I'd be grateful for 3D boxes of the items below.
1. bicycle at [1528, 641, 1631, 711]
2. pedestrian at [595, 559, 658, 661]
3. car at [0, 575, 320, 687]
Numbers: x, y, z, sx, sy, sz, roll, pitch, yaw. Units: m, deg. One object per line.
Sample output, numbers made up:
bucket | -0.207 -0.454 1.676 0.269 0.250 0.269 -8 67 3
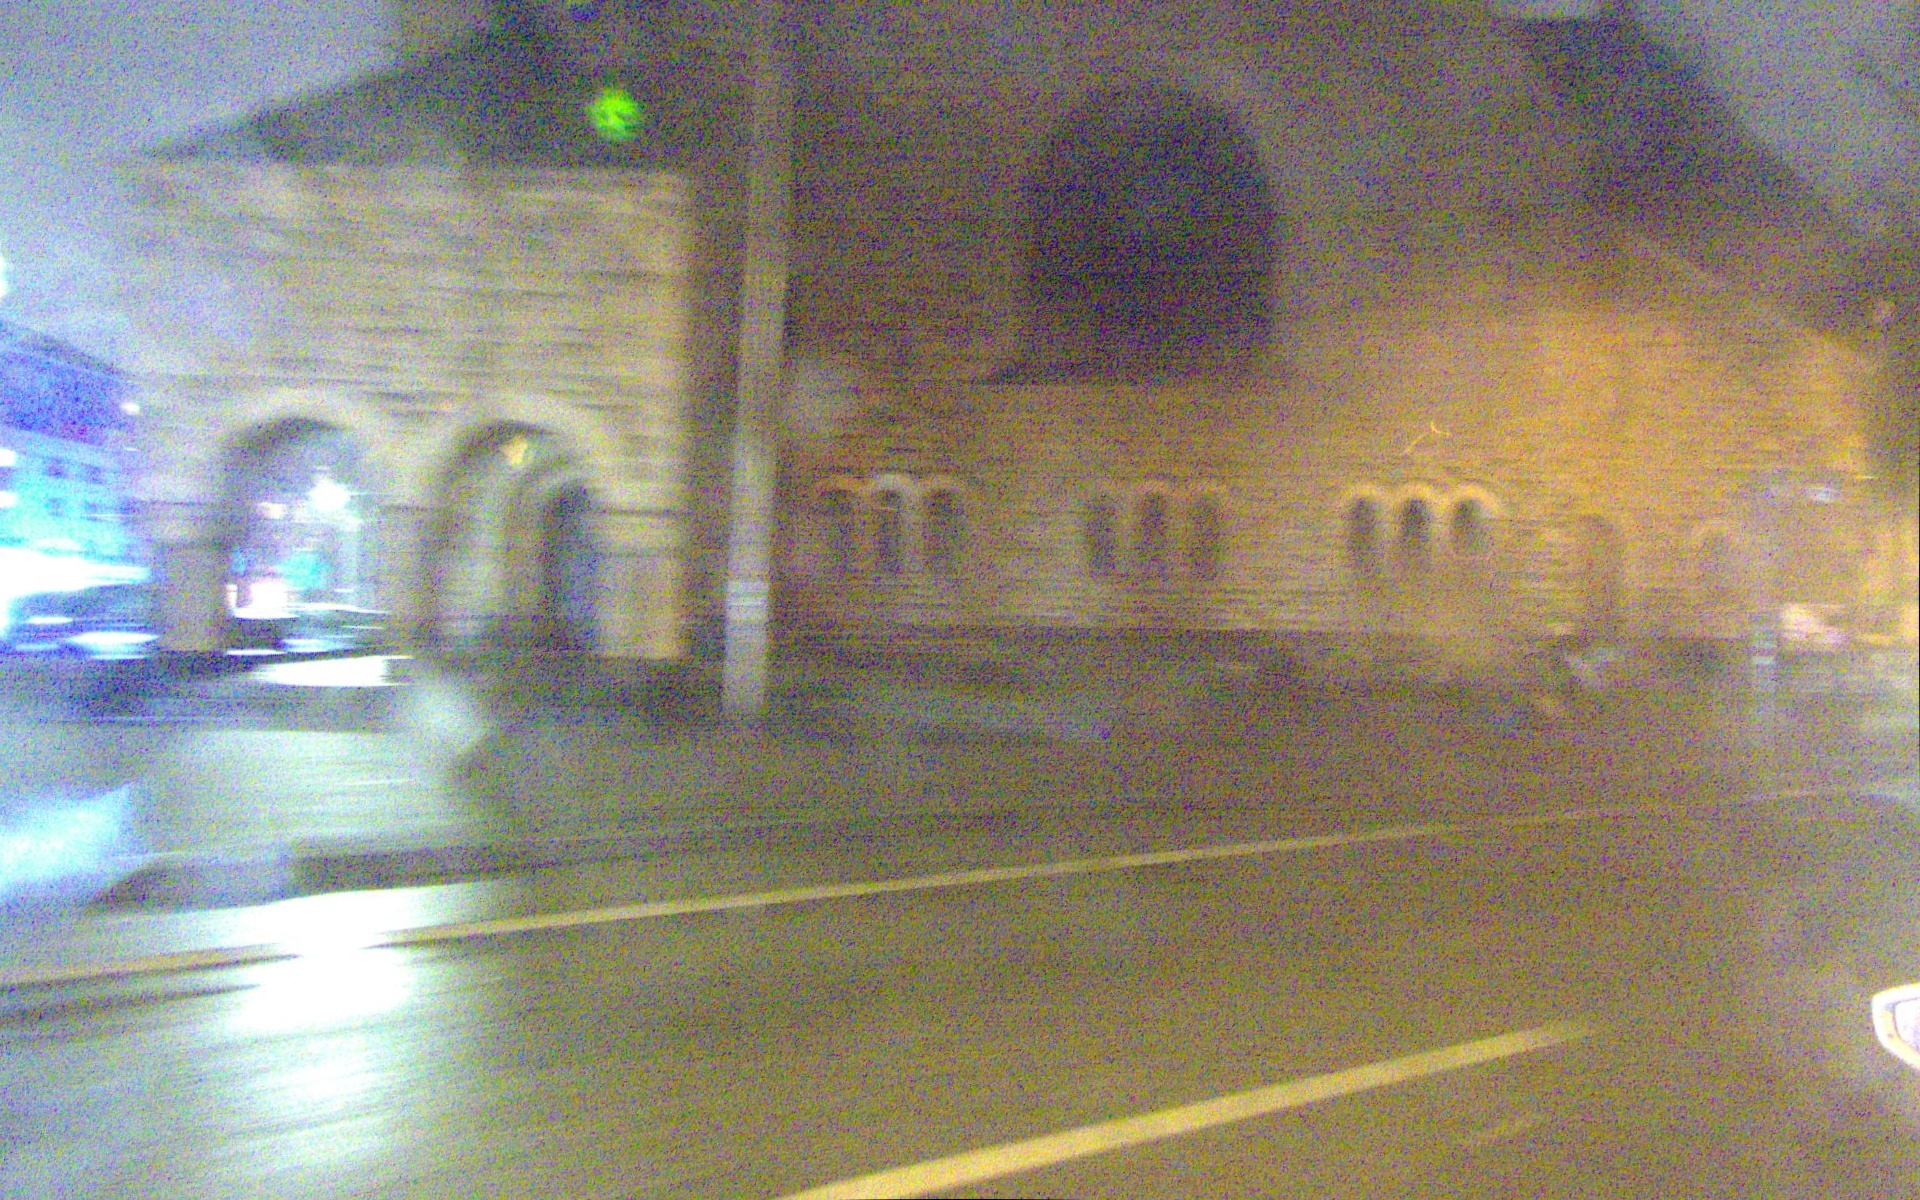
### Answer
bicycle | 11.489 1.386 18.701 0.531 1.196 1.969 1 -1 -6
pedestrian | -5.723 0.174 17.259 0.619 1.698 0.789 1 0 38
car | -13.092 0.521 16.571 3.921 1.750 1.701 0 -2 -1
